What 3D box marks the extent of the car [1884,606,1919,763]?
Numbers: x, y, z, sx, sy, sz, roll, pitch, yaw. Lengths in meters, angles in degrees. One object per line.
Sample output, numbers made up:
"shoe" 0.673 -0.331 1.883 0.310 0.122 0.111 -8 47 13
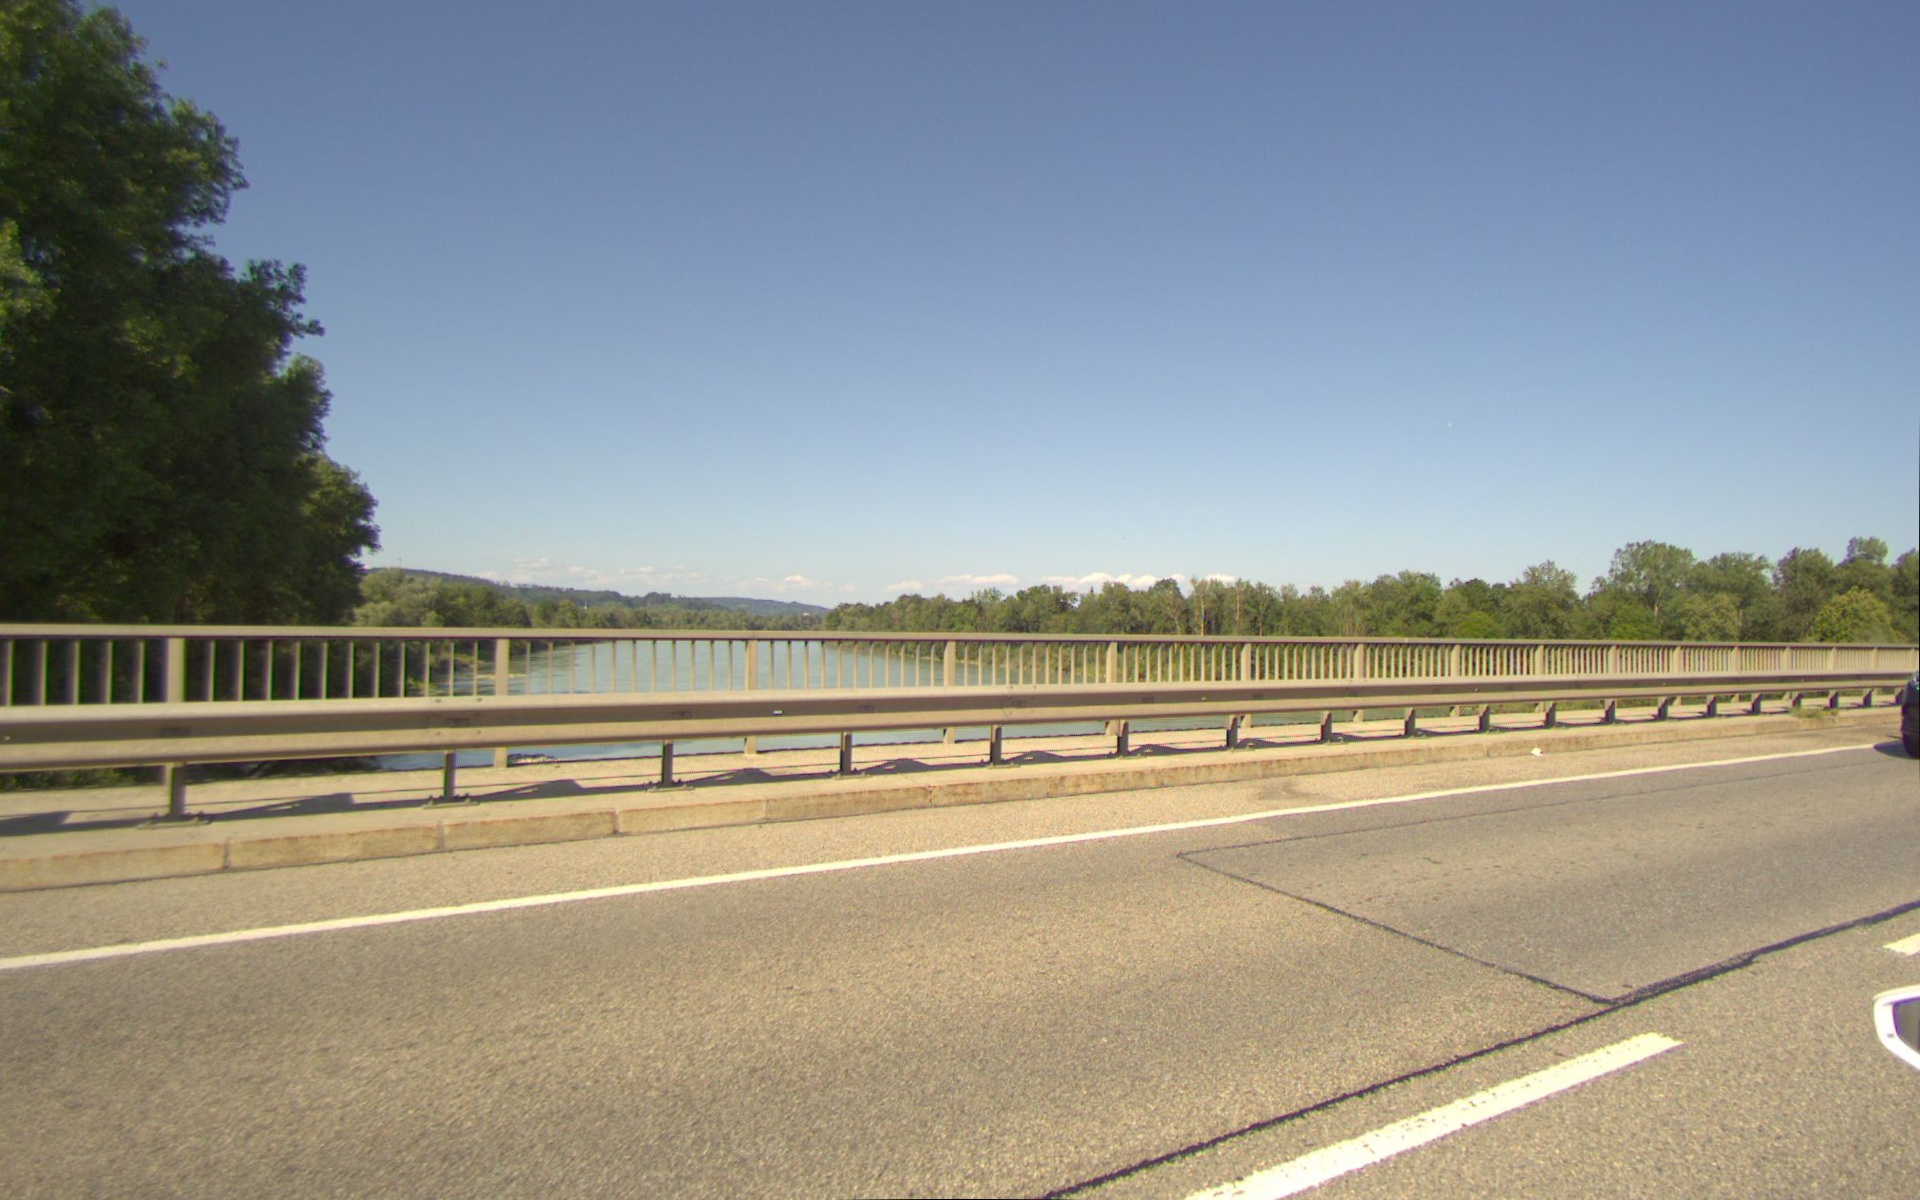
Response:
"car" 12.765 0.985 11.542 4.424 1.716 1.940 1 0 -30
